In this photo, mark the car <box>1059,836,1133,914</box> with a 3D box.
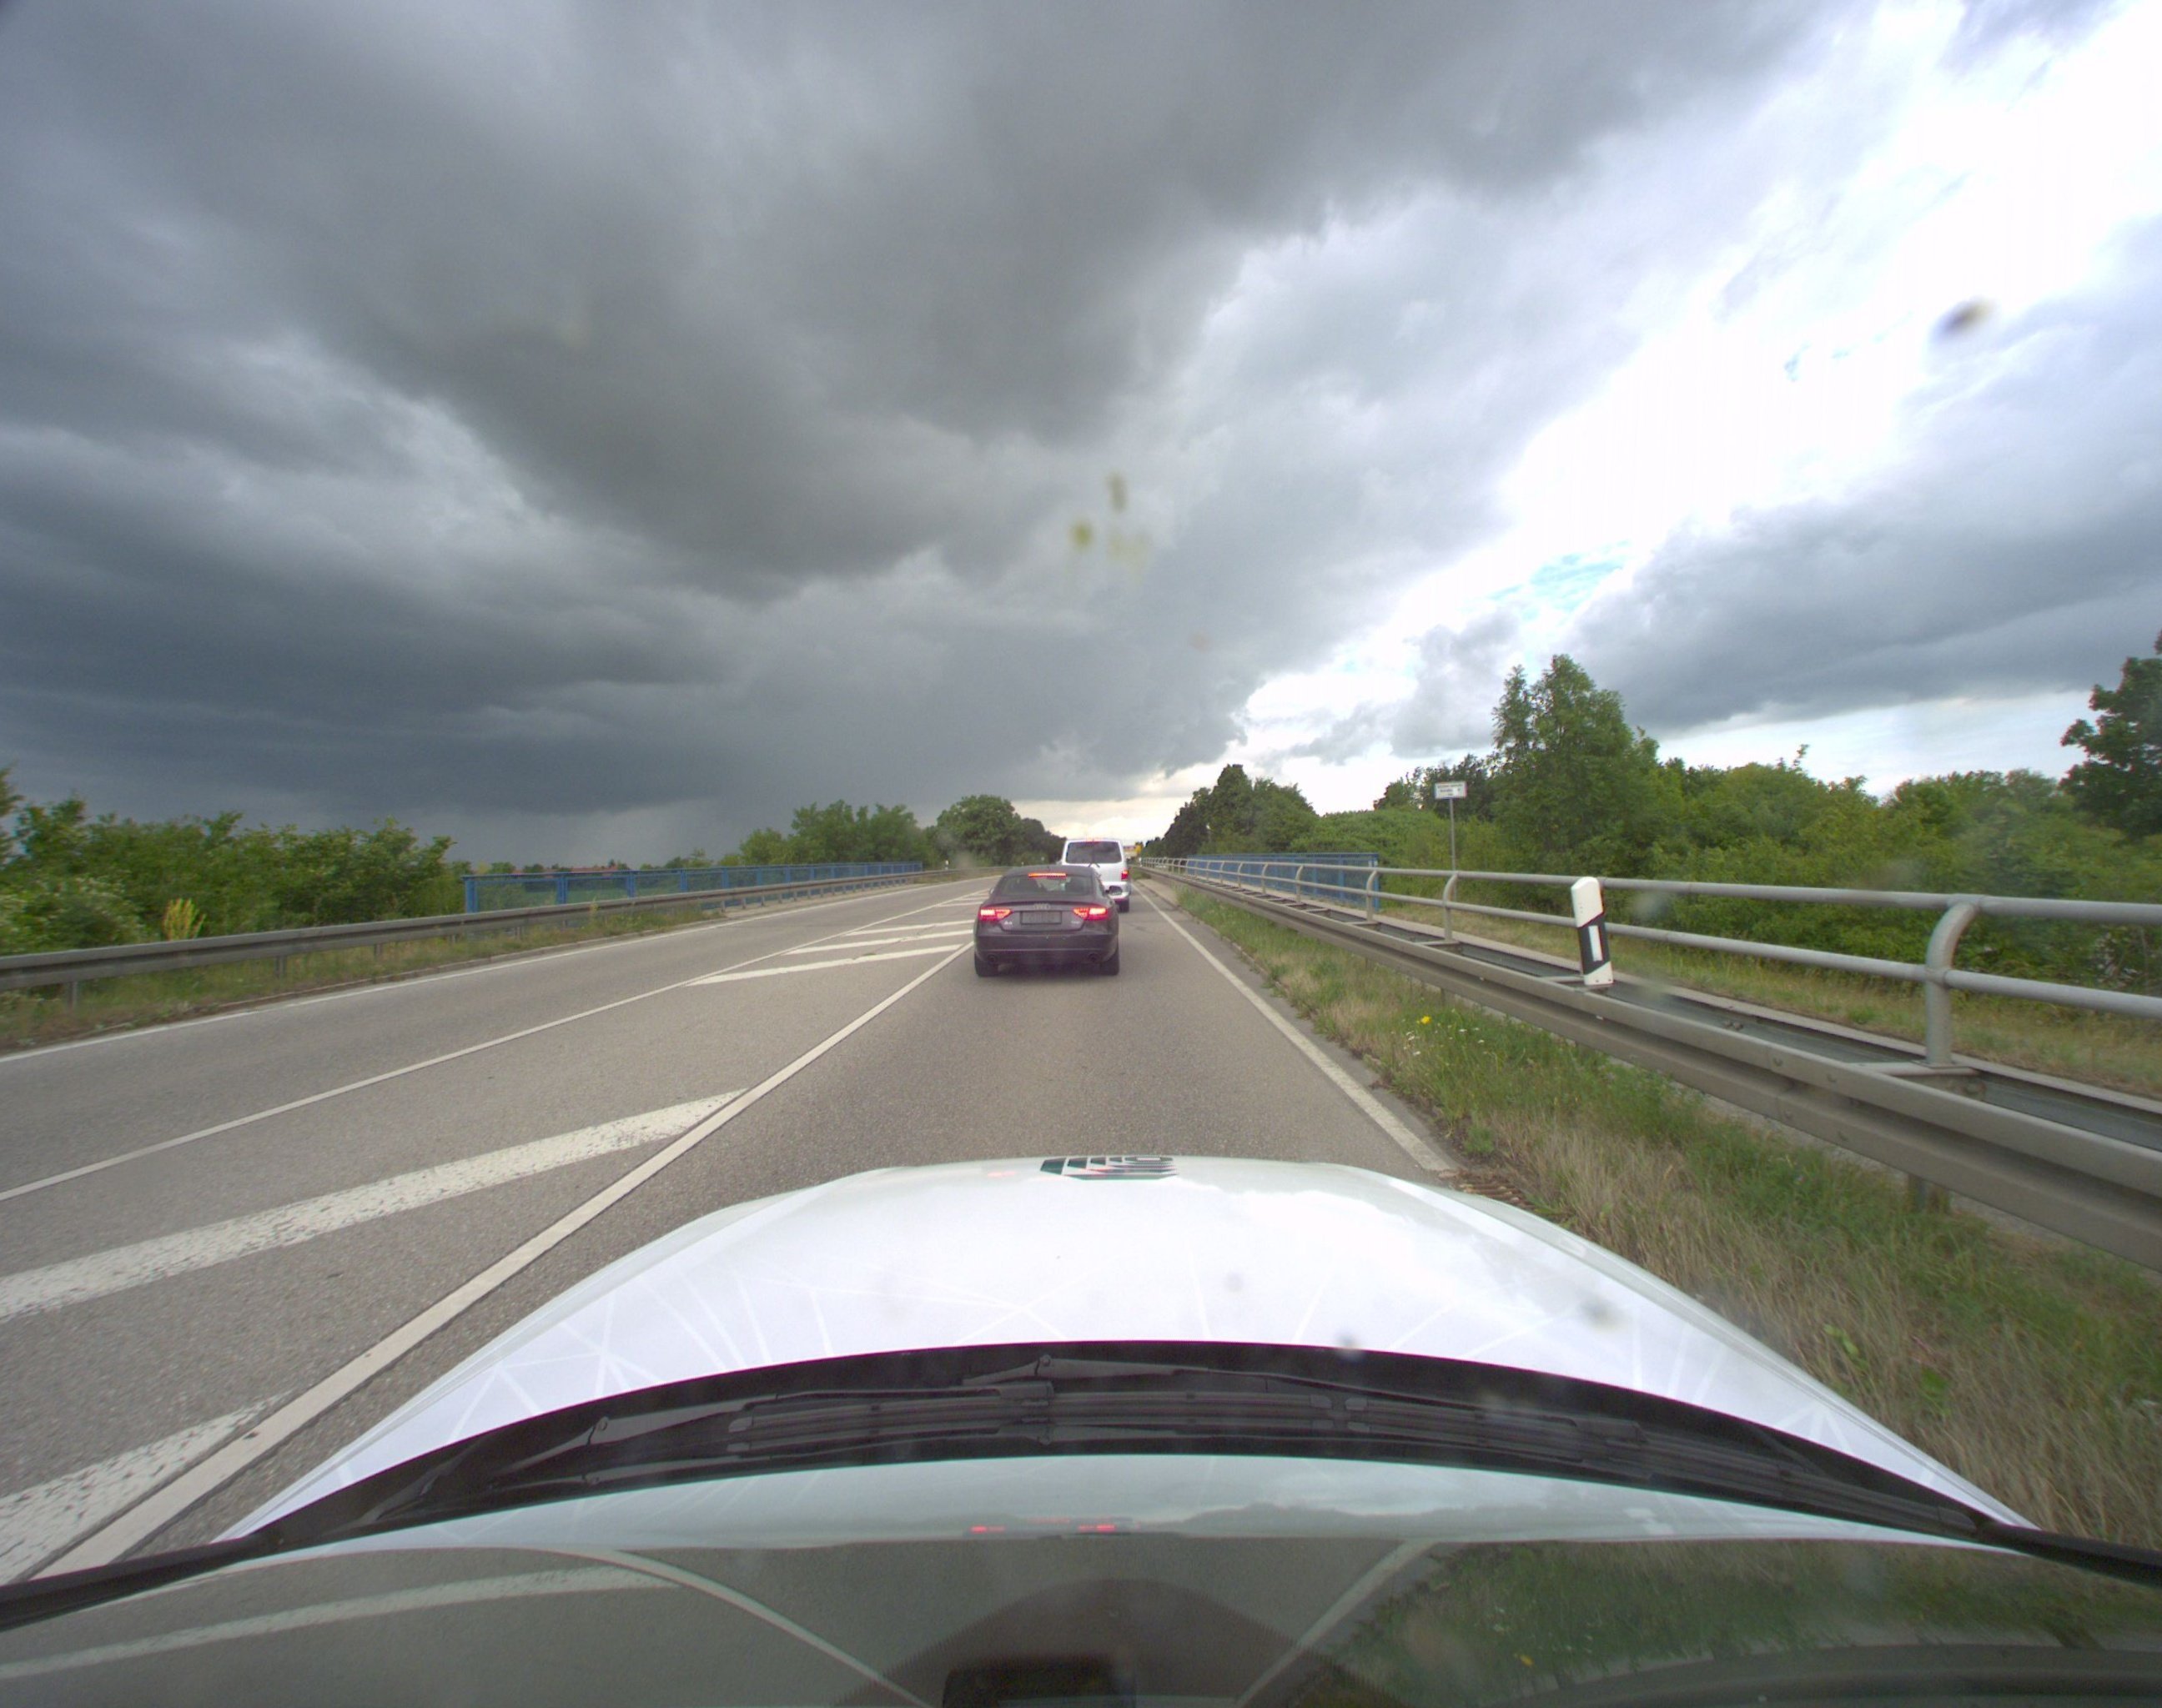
[{"bbox_3d":[0.430,0.555,22.758,1.822,1.935,4.001,-2,0,1],"label":"car"}]

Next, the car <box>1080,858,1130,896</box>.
[{"bbox_3d":[0.979,0.851,31.803,1.814,1.381,4.074,-1,0,2],"label":"car"}]

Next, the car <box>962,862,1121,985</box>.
[{"bbox_3d":[-0.367,0.817,11.389,1.814,1.381,4.074,-1,0,2],"label":"car"}]
